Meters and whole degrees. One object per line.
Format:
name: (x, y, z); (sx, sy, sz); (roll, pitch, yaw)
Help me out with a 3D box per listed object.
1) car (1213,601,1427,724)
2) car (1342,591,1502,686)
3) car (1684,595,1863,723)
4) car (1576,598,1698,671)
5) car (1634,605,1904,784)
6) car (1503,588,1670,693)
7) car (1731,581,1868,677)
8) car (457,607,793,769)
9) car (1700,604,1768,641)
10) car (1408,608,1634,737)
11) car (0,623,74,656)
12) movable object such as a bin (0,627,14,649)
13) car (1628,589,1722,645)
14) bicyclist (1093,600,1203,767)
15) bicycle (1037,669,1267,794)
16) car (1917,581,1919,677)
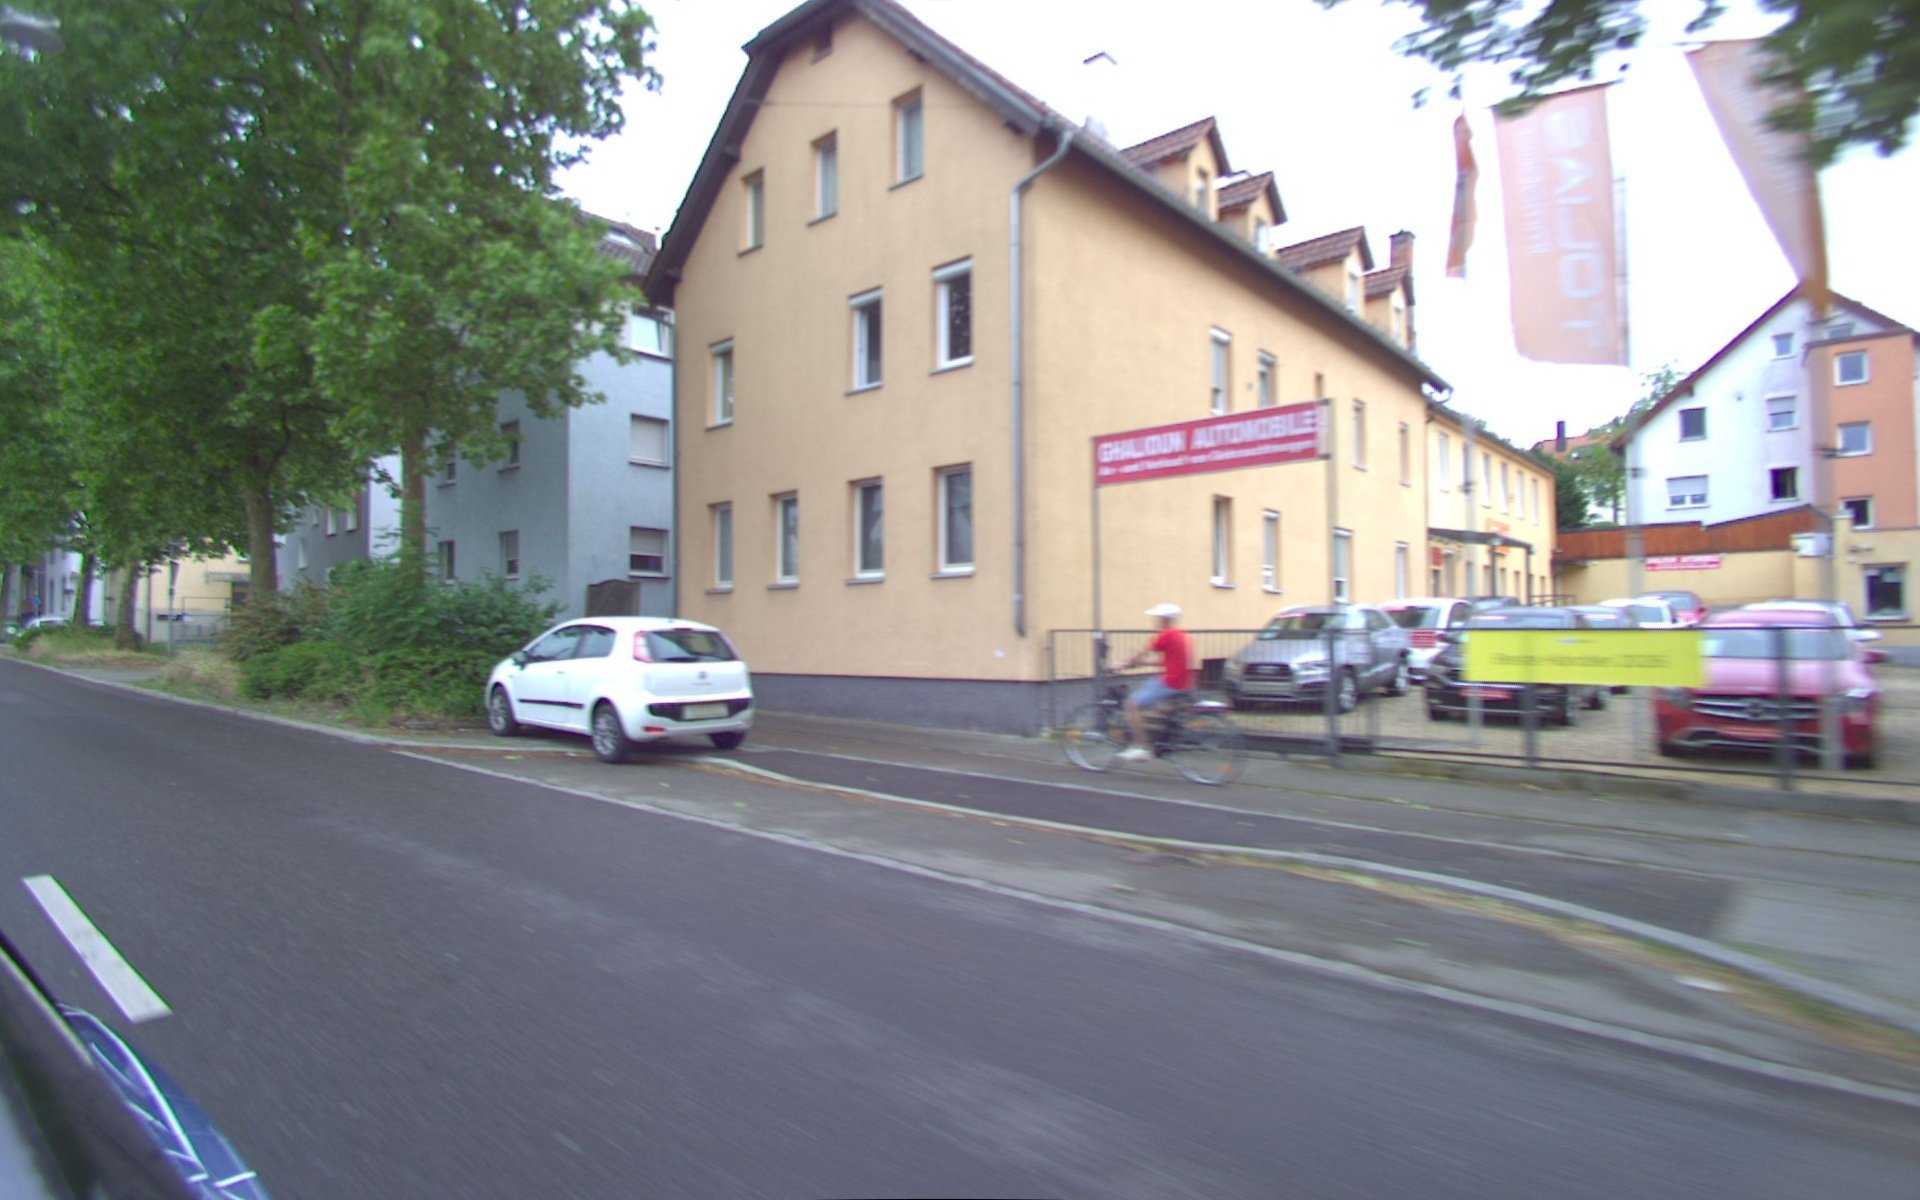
car: (5.854, 0.894, 16.216); (1.782, 1.626, 3.943); (-1, 0, 43)
car: (9.169, 0.687, 19.935); (1.736, 1.626, 3.807); (-1, 0, 43)
car: (12.661, 0.777, 15.660); (1.887, 1.696, 3.943); (0, 1, 43)
car: (15.163, 0.702, 22.606); (1.704, 1.462, 3.762); (0, 1, 43)
car: (8.889, 0.852, 10.997); (1.958, 1.509, 4.053); (-2, -1, 43)
car: (11.504, 0.642, 18.470); (1.887, 1.696, 3.943); (0, 1, 43)
car: (16.678, 0.495, 20.043); (1.887, 1.696, 3.943); (0, 1, 43)
car: (-4.058, 0.902, 11.876); (4.349, 1.563, 1.767); (-2, -2, 41)
car: (25.295, 0.708, 33.048); (1.463, 1.057, 2.895); (2, 2, 43)
car: (8.020, 0.901, 14.302); (1.886, 1.475, 3.943); (-1, 0, 43)
car: (-40.566, 1.690, 44.415); (4.533, 1.336, 1.738); (0, -1, 38)
movable object such as a bin: (-46.744, 1.873, 49.549); (0.762, 1.065, 0.529); (0, -2, 41)
car: (18.780, 0.404, 26.541); (1.584, 1.363, 3.388); (0, 1, 43)
bicyclist: (1.889, 0.790, 10.143); (0.815, 1.564, 0.825); (0, 0, 37)
bicycle: (1.869, 1.258, 10.125); (2.262, 1.003, 0.549); (0, 0, 37)
car: (18.437, 0.506, 18.083); (1.887, 1.696, 3.943); (0, 1, 43)
